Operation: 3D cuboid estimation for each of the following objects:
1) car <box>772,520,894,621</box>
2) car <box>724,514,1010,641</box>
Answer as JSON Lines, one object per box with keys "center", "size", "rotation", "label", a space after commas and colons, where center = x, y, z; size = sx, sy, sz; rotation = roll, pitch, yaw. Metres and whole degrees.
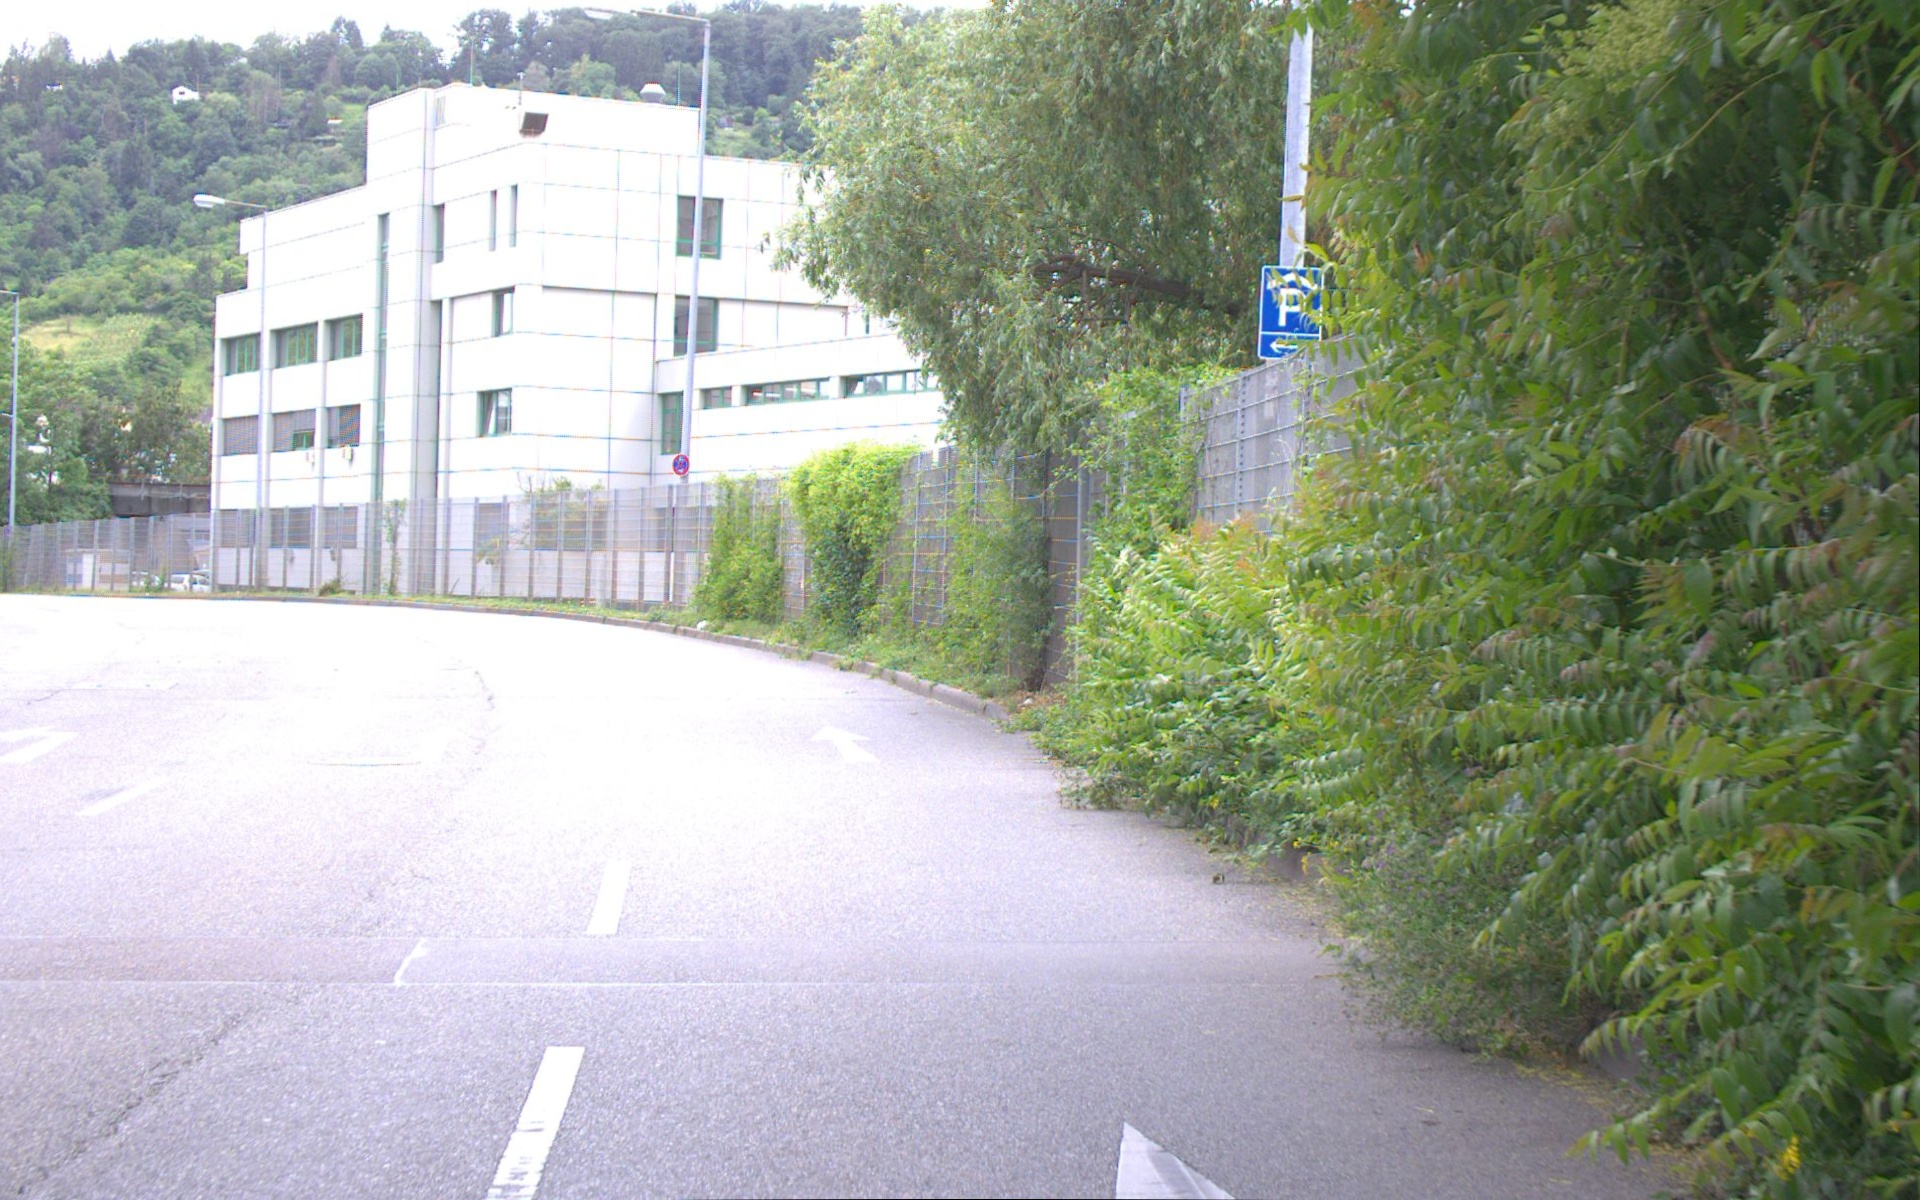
{"center": [-2.738, -0.596, 73.156], "size": [1.993, 2.007, 4.847], "rotation": [2, -1, -9], "label": "car"}
{"center": [-1.975, -0.493, 70.599], "size": [6.166, 2.255, 1.995], "rotation": [4, 1, 43], "label": "car"}
